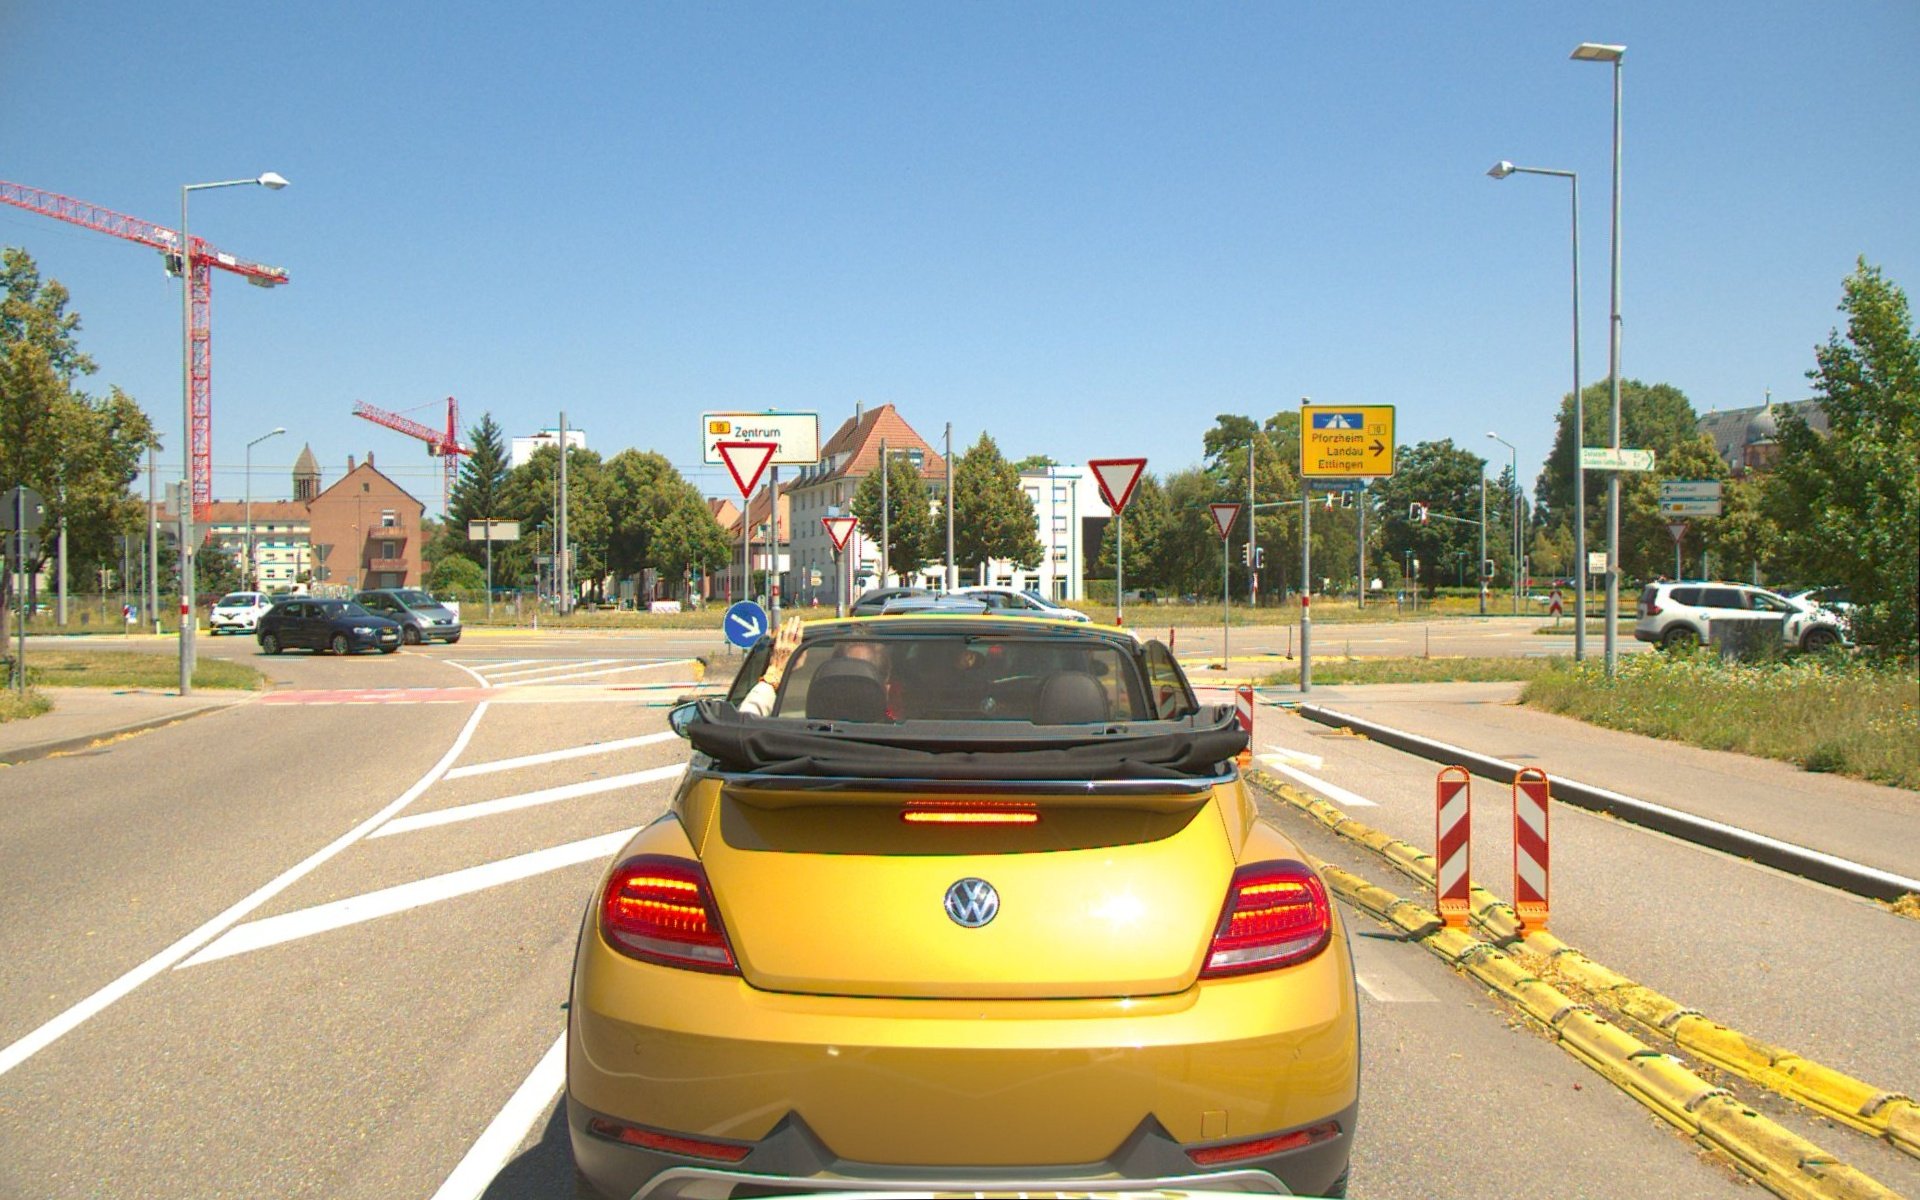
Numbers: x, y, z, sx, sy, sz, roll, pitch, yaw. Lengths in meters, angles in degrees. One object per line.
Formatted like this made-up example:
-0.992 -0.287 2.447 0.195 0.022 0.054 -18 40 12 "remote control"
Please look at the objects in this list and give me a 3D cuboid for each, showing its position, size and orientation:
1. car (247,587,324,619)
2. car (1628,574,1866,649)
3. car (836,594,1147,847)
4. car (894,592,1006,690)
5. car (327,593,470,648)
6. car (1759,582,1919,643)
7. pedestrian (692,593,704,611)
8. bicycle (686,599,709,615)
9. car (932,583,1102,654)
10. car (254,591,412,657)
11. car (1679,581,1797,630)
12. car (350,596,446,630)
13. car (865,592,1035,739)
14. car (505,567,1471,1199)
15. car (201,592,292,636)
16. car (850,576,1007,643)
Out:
-27.736 0.111 68.124 1.672 1.258 3.786 0 0 -1 "car"
17.450 0.238 36.913 4.477 1.593 2.002 0 0 14 "car"
0.161 0.702 11.645 1.810 1.467 3.999 0 0 -1 "car"
-0.178 0.635 27.455 1.701 1.503 3.999 0 0 -1 "car"
-16.450 0.581 48.454 3.910 1.522 1.798 0 0 28 "car"
23.779 0.323 43.168 4.885 1.536 2.001 0 0 6 "car"
-18.105 0.121 114.310 0.667 1.252 0.495 0 0 -24 "pedestrian"
-18.148 0.455 114.290 1.446 1.090 0.495 0 0 -24 "bicycle"
1.412 0.436 39.900 3.913 1.648 1.682 0 0 9 "car"
-16.453 0.600 43.412 3.922 1.648 1.734 0 0 28 "car"
30.699 0.214 65.388 1.966 1.870 3.972 0 0 -23 "car"
-26.439 0.605 77.971 1.676 1.526 4.210 0 0 32 "car"
-0.123 0.661 18.655 1.701 1.467 3.999 0 0 -1 "car"
0.024 0.668 4.833 1.717 1.447 3.776 0 0 -1 "car"
-26.974 0.509 62.653 1.720 1.576 3.999 0 0 -1 "car"
-0.811 0.249 44.189 3.902 1.522 1.649 -3 -1 9 "car"
